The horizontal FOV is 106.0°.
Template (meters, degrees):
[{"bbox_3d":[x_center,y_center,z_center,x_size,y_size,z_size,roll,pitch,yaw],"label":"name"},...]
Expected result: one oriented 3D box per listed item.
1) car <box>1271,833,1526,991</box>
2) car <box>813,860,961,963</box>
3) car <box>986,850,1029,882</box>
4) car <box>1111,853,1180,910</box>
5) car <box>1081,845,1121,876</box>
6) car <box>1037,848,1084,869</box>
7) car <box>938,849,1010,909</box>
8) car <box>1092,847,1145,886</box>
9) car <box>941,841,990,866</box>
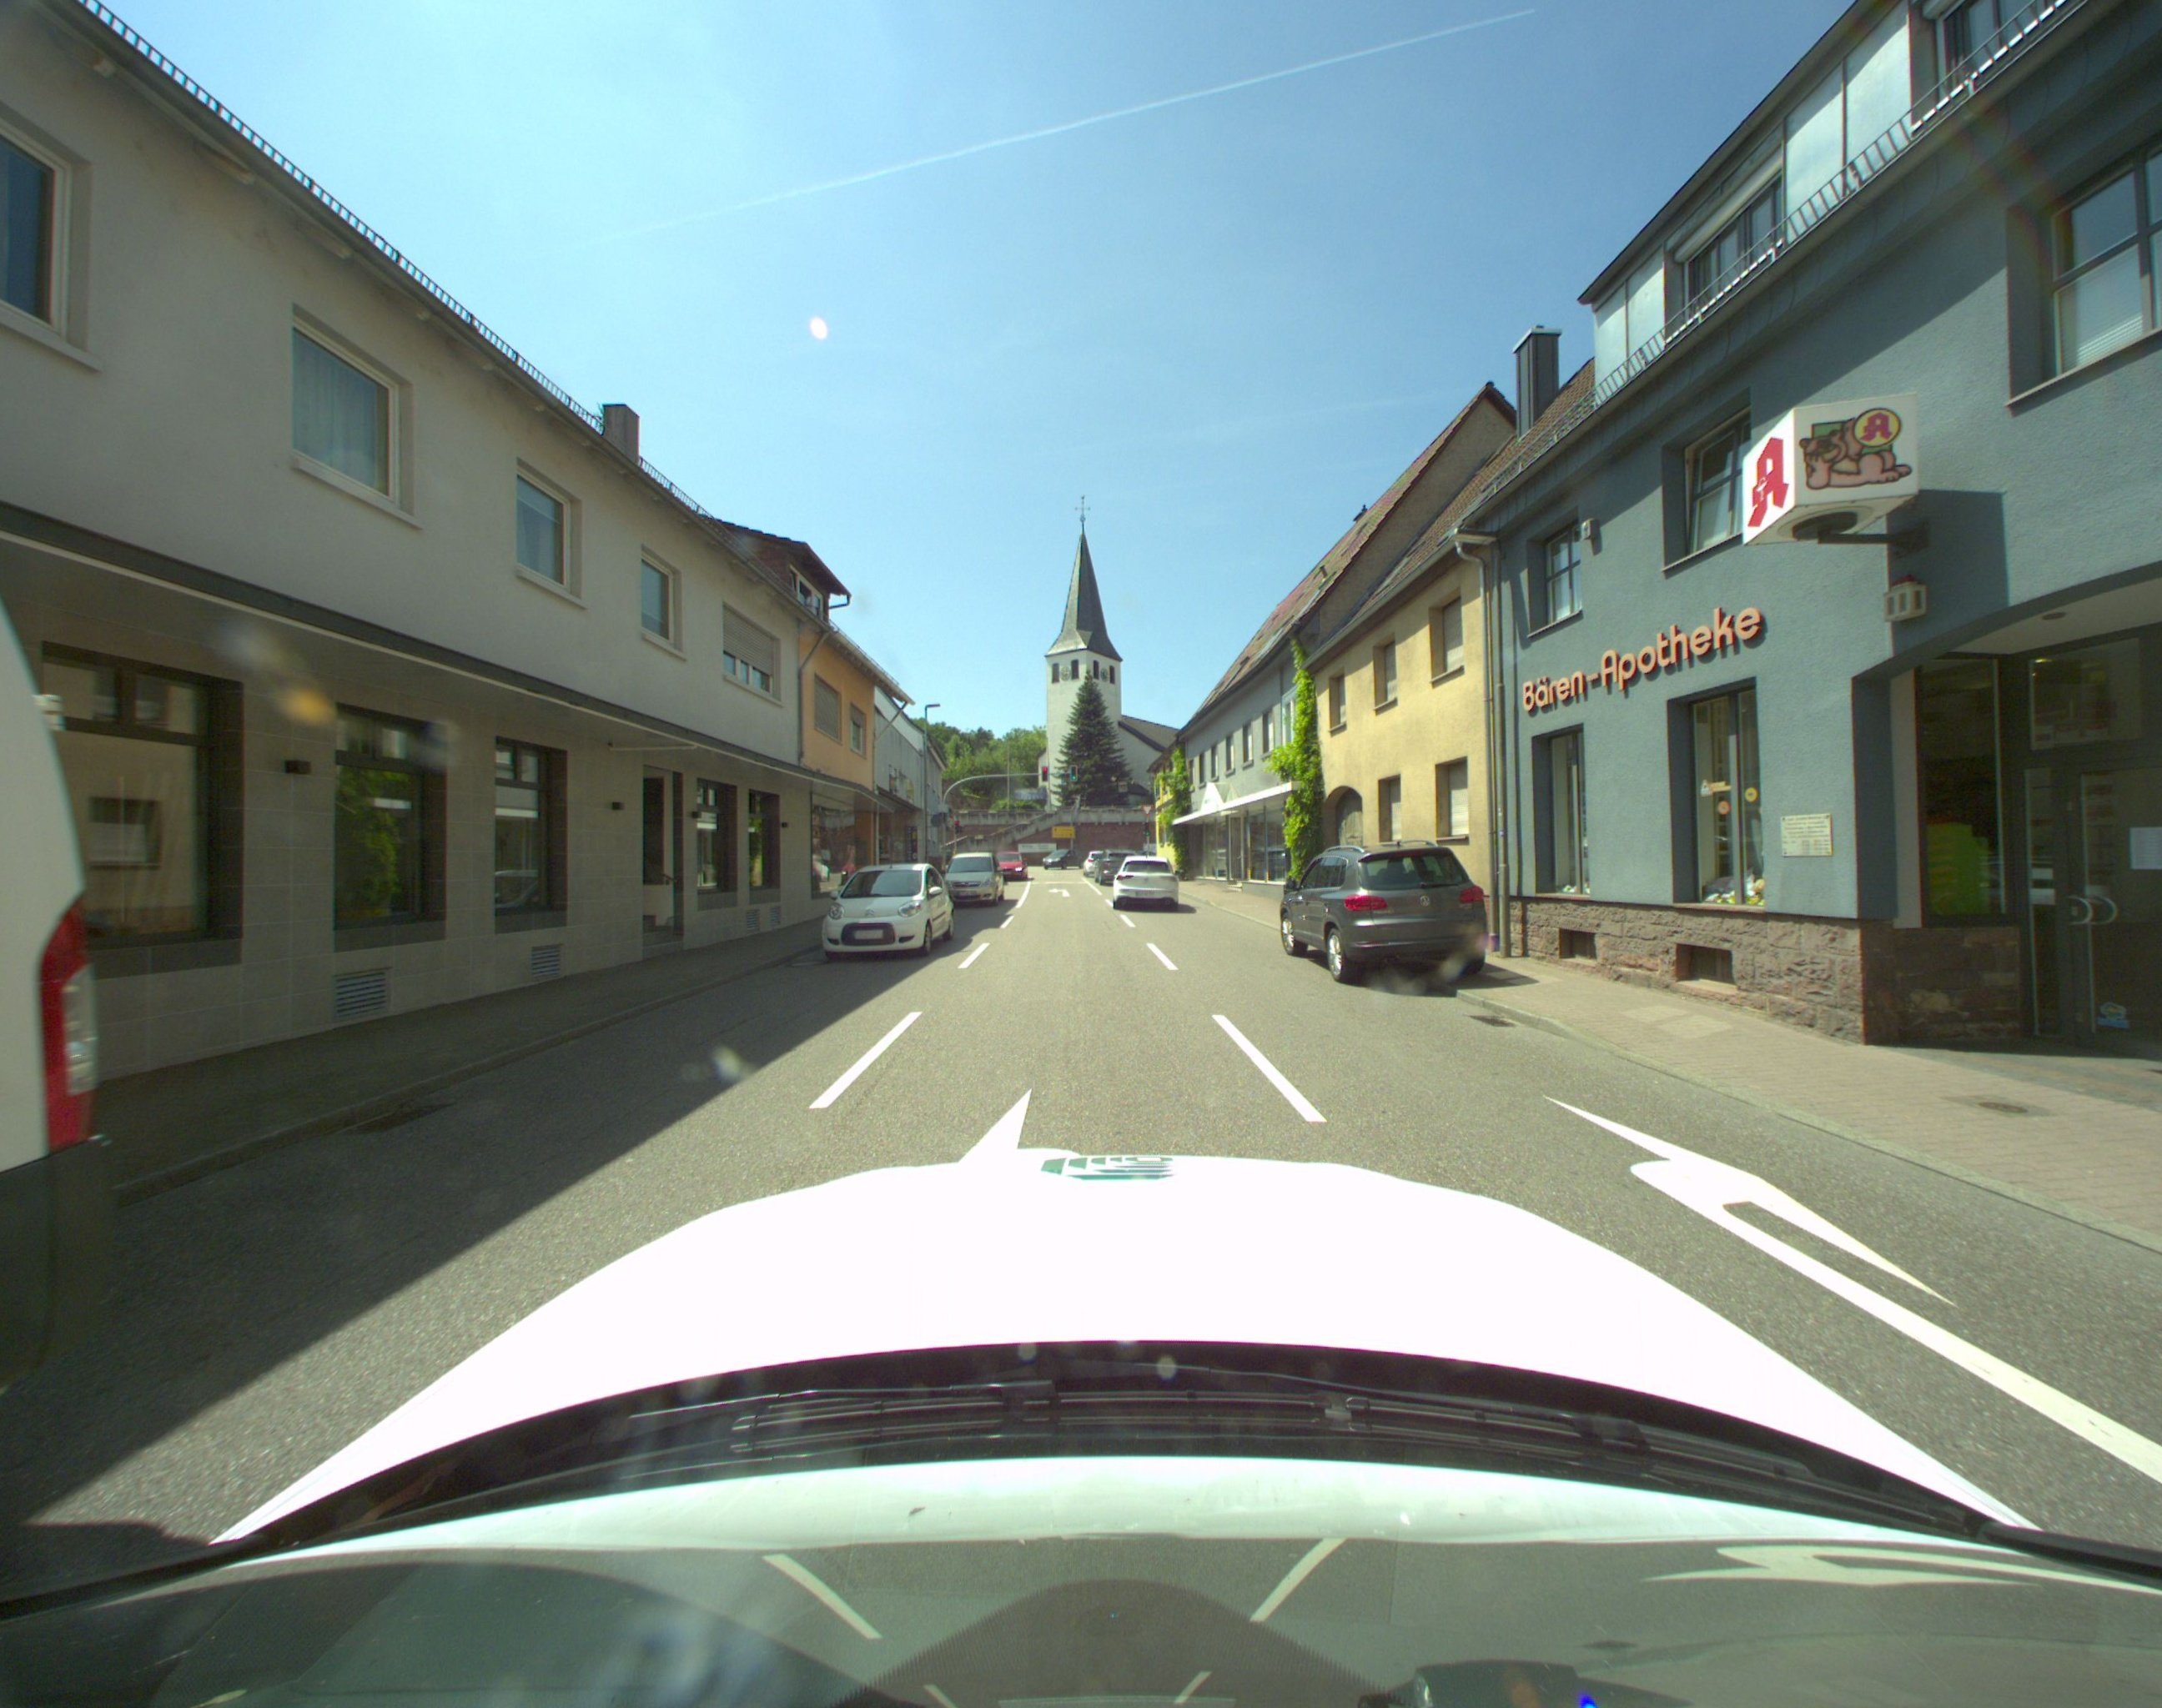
[{"bbox_3d":[4.088,0.665,11.326,1.986,1.708,4.102,-3,0,1],"label":"car"},{"bbox_3d":[-3.145,0.870,13.870,1.591,1.455,3.447,-3,0,0],"label":"car"},{"bbox_3d":[-3.708,0.579,41.690,1.712,1.408,4.285,-3,1,0],"label":"car"},{"bbox_3d":[1.794,0.714,22.979,1.775,1.458,3.867,0,0,4],"label":"car"},{"bbox_3d":[1.096,0.337,46.613,1.945,1.582,4.321,0,2,-4],"label":"car"},{"bbox_3d":[-1.462,0.325,59.954,1.701,1.422,3.844,-1,1,30],"label":"car"},{"bbox_3d":[-3.248,0.710,25.306,1.674,1.617,3.820,-3,1,0],"label":"car"},{"bbox_3d":[1.641,0.538,37.240,1.945,1.582,4.321,0,2,-4],"label":"car"},{"bbox_3d":[-10.006,-0.021,70.690,3.979,2.014,1.997,2,-1,-4],"label":"car"}]
